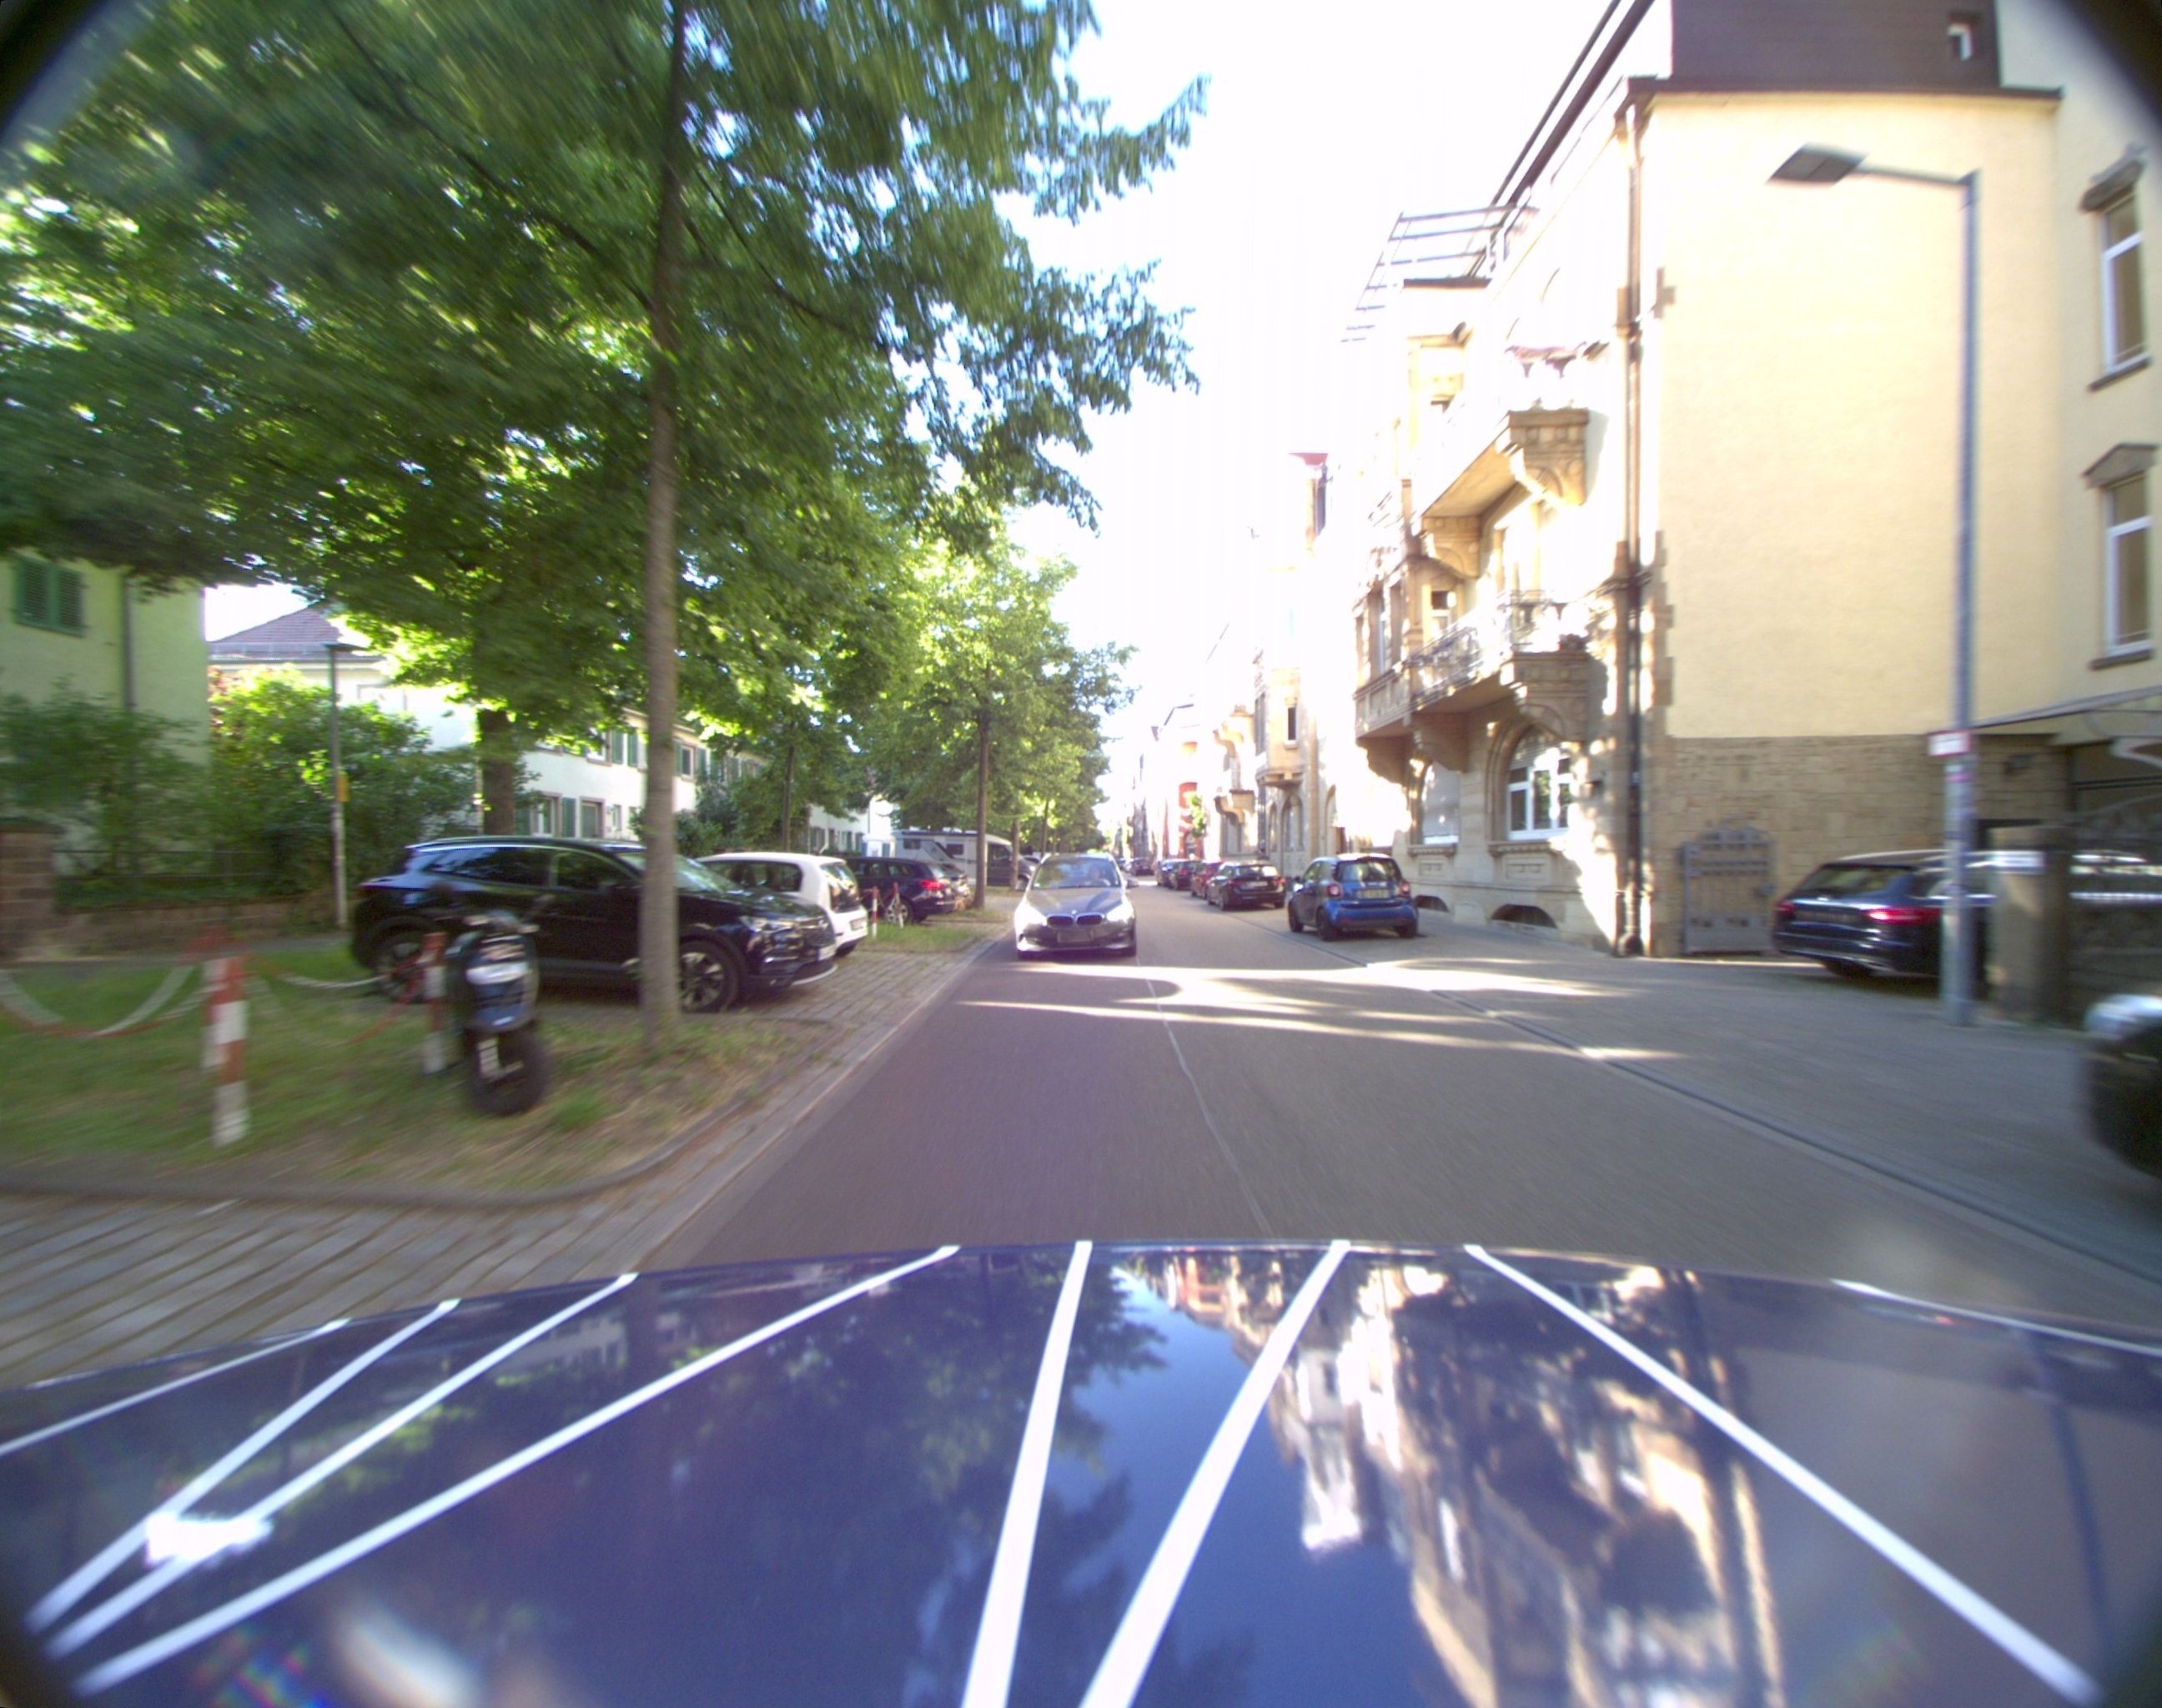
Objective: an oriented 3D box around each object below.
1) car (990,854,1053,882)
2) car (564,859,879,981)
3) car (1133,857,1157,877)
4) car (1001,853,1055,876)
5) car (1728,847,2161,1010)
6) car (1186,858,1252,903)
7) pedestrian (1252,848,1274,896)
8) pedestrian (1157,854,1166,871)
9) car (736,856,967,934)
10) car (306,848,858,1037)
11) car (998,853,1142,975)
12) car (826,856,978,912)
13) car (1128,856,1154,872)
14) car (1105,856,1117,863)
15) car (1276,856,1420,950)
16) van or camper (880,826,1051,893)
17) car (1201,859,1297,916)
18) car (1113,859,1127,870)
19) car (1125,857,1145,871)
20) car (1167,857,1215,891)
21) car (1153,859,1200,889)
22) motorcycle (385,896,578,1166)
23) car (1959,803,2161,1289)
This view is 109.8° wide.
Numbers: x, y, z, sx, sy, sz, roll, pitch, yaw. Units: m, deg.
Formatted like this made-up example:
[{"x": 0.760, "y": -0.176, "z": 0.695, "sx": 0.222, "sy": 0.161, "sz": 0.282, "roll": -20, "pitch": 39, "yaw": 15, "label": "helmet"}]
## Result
[{"x": -3.964, "y": 0.926, "z": 50.931, "sx": 3.997, "sy": 1.804, "sz": 2.000, "roll": 0, "pitch": 0, "yaw": 1, "label": "car"}, {"x": -4.724, "y": 0.829, "z": 10.348, "sx": 3.456, "sy": 1.467, "sz": 1.693, "roll": 1, "pitch": 0, "yaw": 1, "label": "car"}, {"x": 5.749, "y": 1.143, "z": 68.548, "sx": 1.862, "sy": 1.594, "sz": 4.000, "roll": -3, "pitch": 0, "yaw": 1, "label": "car"}, {"x": -4.299, "y": 0.867, "z": 61.937, "sx": 3.994, "sy": 1.871, "sz": 2.002, "roll": 0, "pitch": 0, "yaw": 10, "label": "car"}, {"x": 10.002, "y": 0.694, "z": 8.077, "sx": 4.400, "sy": 1.430, "sz": 2.068, "roll": -2, "pitch": 0, "yaw": 3, "label": "car"}, {"x": 5.233, "y": 0.961, "z": 29.313, "sx": 1.694, "sy": 1.458, "sz": 3.773, "roll": -5, "pitch": 0, "yaw": -1, "label": "car"}, {"x": 7.116, "y": 0.688, "z": 29.696, "sx": 0.695, "sy": 1.837, "sz": 0.497, "roll": -2, "pitch": 1, "yaw": 2, "label": "pedestrian"}, {"x": 7.940, "y": 0.835, "z": 75.284, "sx": 0.779, "sy": 1.692, "sz": 1.010, "roll": 0, "pitch": 0, "yaw": 1, "label": "pedestrian"}, {"x": -4.888, "y": 0.848, "z": 16.581, "sx": 4.468, "sy": 1.469, "sz": 1.753, "roll": 2, "pitch": 0, "yaw": 2, "label": "car"}, {"x": -4.738, "y": 0.787, "z": 7.749, "sx": 4.344, "sy": 1.599, "sz": 1.928, "roll": 1, "pitch": 1, "yaw": 0, "label": "car"}, {"x": -0.106, "y": 0.841, "z": 12.773, "sx": 1.924, "sy": 1.597, "sz": 4.517, "roll": -3, "pitch": 0, "yaw": 1, "label": "car"}, {"x": -5.133, "y": 0.851, "z": 22.271, "sx": 3.998, "sy": 1.510, "sz": 1.999, "roll": 0, "pitch": 1, "yaw": -2, "label": "car"}, {"x": 5.999, "y": 0.951, "z": 75.983, "sx": 1.999, "sy": 1.510, "sz": 3.998, "roll": 0, "pitch": 0, "yaw": -4, "label": "car"}, {"x": 6.698, "y": 1.266, "z": 169.445, "sx": 2.000, "sy": 1.529, "sz": 3.997, "roll": -3, "pitch": 0, "yaw": -7, "label": "car"}, {"x": 4.942, "y": 0.850, "z": 14.437, "sx": 1.688, "sy": 1.500, "sz": 2.861, "roll": -4, "pitch": 0, "yaw": 1, "label": "car"}, {"x": -5.074, "y": 0.217, "z": 34.285, "sx": 7.266, "sy": 2.888, "sz": 2.427, "roll": 0, "pitch": 1, "yaw": 1, "label": "van or camper"}, {"x": 5.052, "y": 0.944, "z": 23.442, "sx": 1.905, "sy": 1.430, "sz": 4.542, "roll": -4, "pitch": 0, "yaw": 0, "label": "car"}, {"x": 5.331, "y": 1.445, "z": 104.818, "sx": 1.702, "sy": 1.372, "sz": 4.000, "roll": 0, "pitch": 0, "yaw": 1, "label": "car"}, {"x": 5.996, "y": 1.066, "z": 84.593, "sx": 1.922, "sy": 1.510, "sz": 4.000, "roll": 0, "pitch": 0, "yaw": 1, "label": "car"}, {"x": 5.210, "y": 0.932, "z": 36.406, "sx": 1.747, "sy": 1.457, "sz": 3.998, "roll": -2, "pitch": 0, "yaw": 2, "label": "car"}, {"x": 5.236, "y": 1.053, "z": 42.192, "sx": 1.893, "sy": 1.448, "sz": 4.510, "roll": -4, "pitch": 0, "yaw": -1, "label": "car"}, {"x": -3.603, "y": 0.891, "z": 4.503, "sx": 0.739, "sy": 1.190, "sz": 1.771, "roll": -1, "pitch": 0, "yaw": -43, "label": "motorcycle"}, {"x": 4.929, "y": 0.700, "z": 1.235, "sx": 1.774, "sy": 1.841, "sz": 4.542, "roll": -1, "pitch": 0, "yaw": 1, "label": "car"}]
